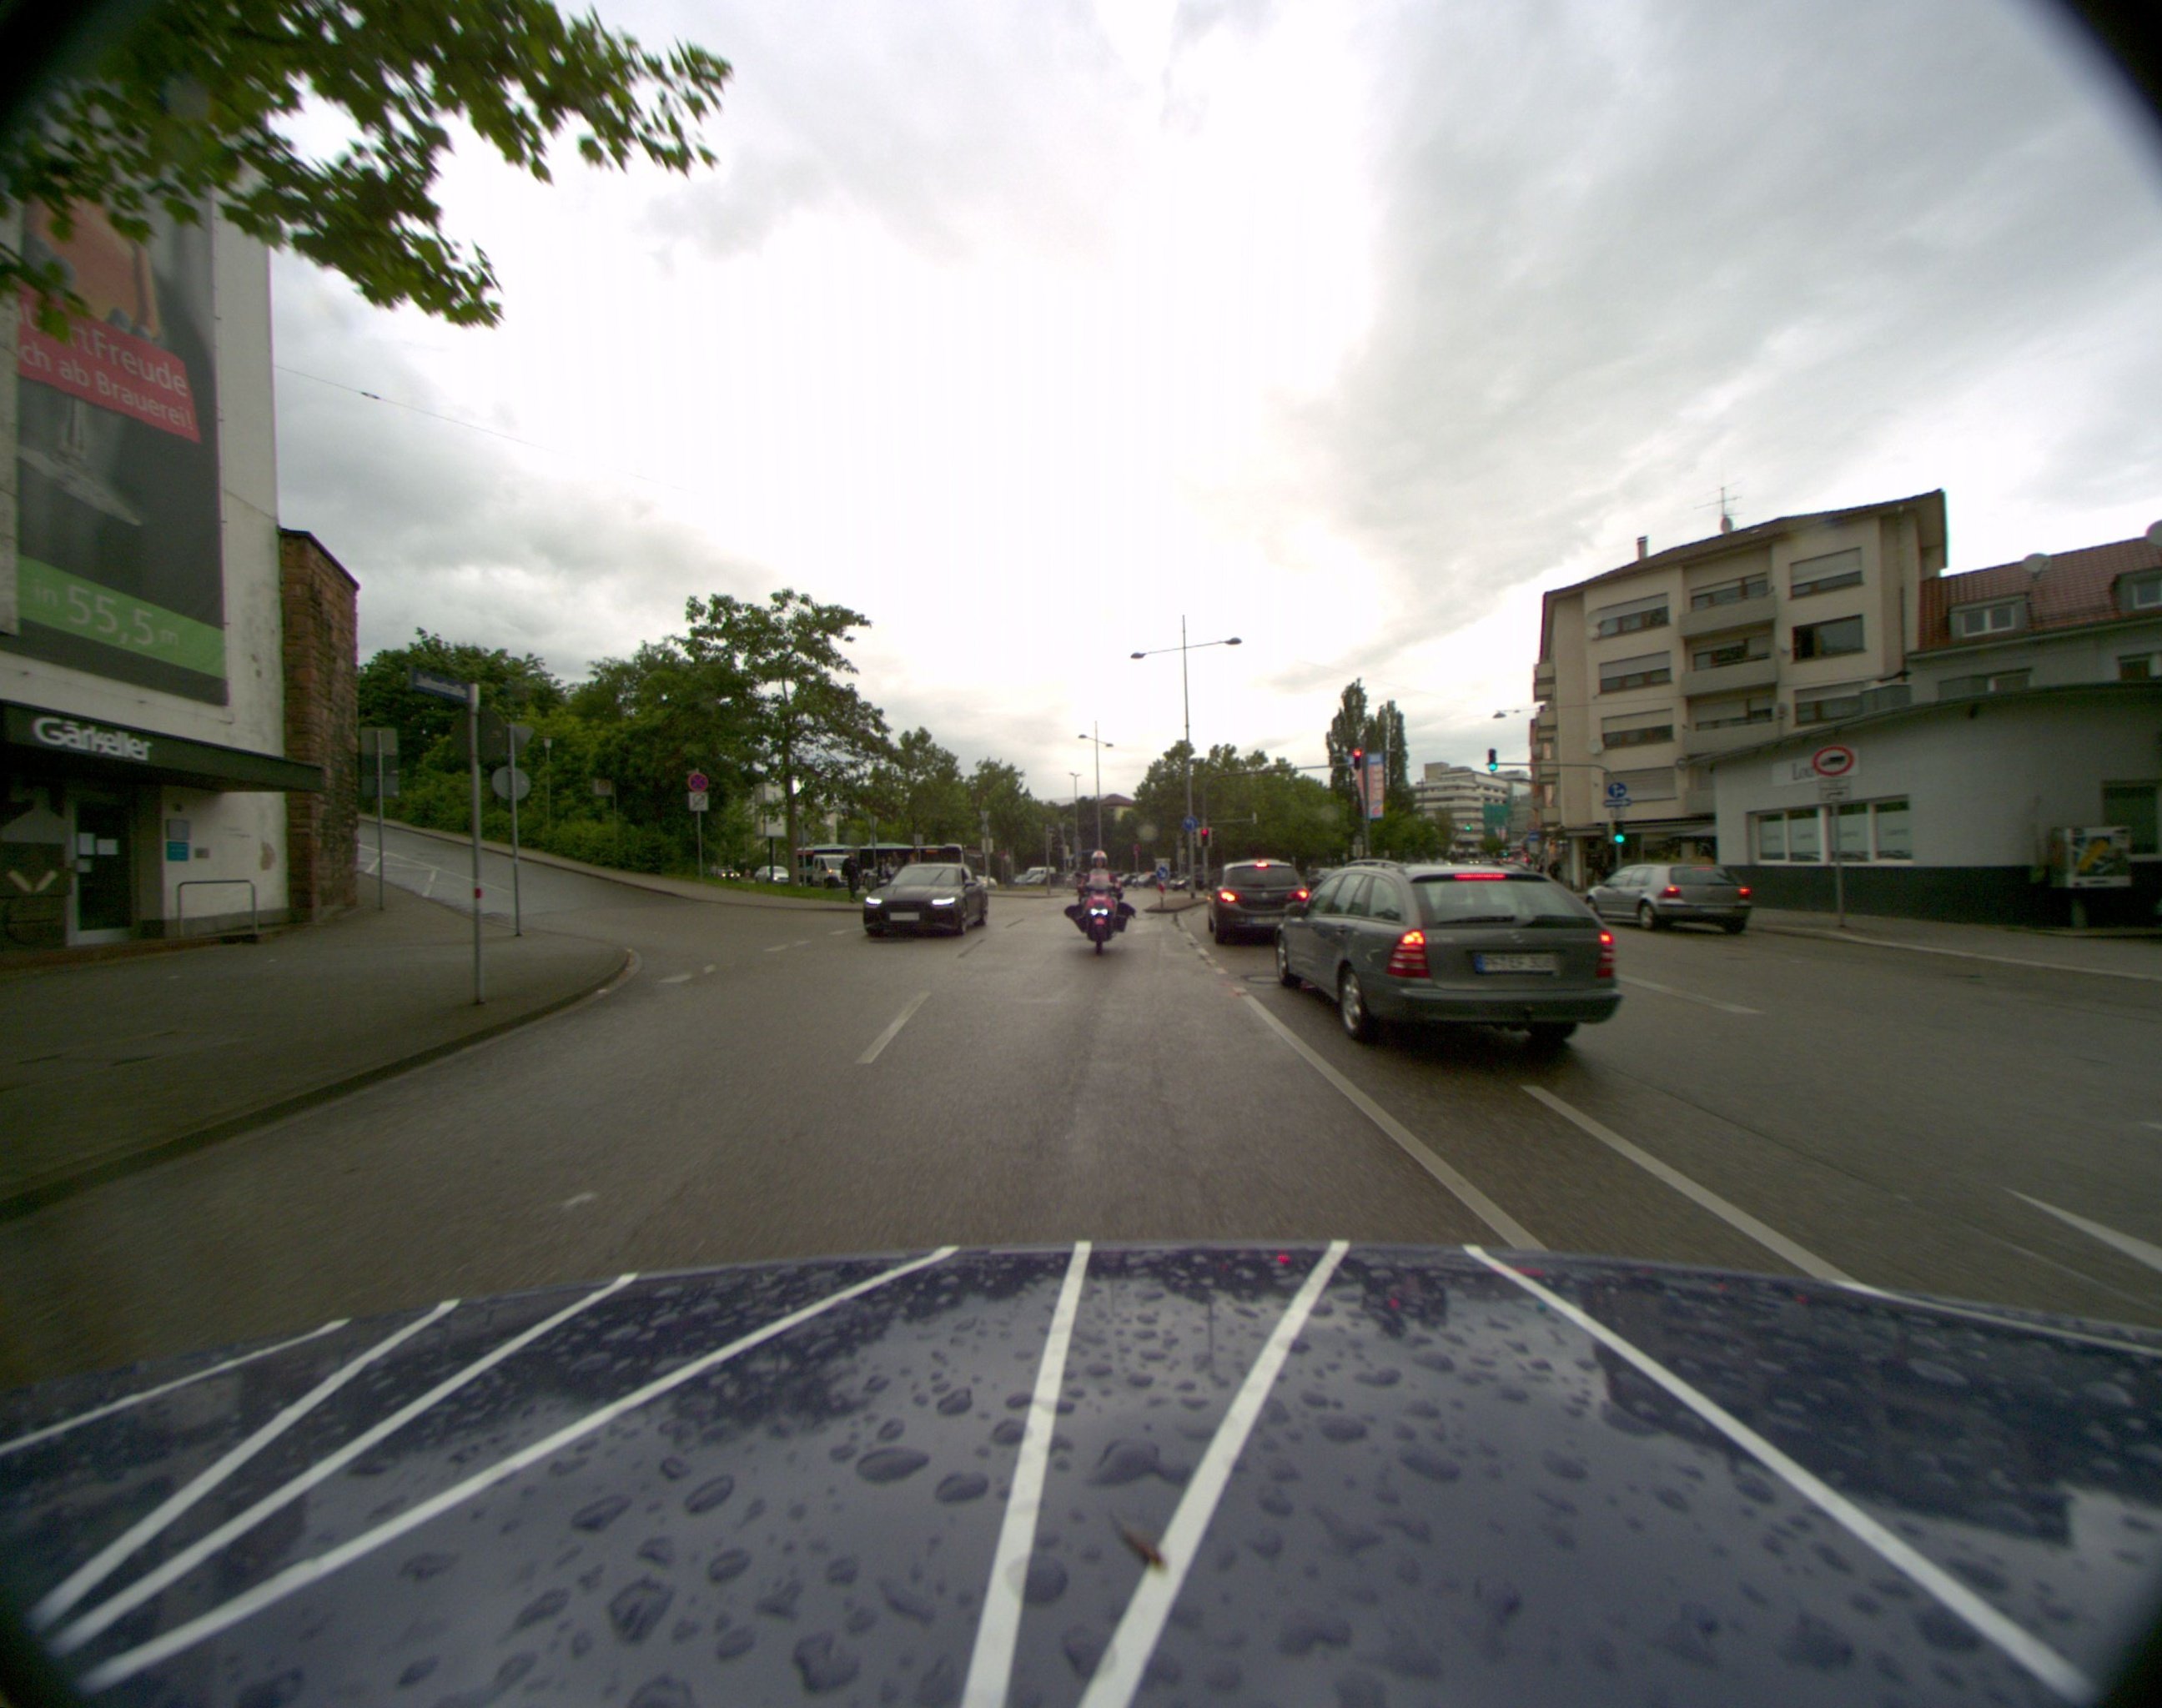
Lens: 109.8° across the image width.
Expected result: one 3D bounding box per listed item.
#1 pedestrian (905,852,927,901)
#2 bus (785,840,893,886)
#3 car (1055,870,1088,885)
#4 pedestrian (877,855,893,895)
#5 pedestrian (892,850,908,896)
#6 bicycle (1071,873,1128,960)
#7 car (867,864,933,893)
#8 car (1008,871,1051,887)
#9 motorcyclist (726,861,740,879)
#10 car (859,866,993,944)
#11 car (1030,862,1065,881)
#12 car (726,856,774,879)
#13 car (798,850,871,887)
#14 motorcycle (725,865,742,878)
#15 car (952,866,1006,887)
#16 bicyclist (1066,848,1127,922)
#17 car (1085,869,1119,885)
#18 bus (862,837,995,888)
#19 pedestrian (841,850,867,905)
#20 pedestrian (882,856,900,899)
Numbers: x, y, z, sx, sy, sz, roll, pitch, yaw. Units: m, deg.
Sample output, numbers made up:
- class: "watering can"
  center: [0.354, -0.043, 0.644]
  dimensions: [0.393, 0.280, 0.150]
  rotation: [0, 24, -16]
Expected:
- class: "pedestrian"
  center: [-6.309, 0.849, 29.009]
  dimensions: [0.743, 1.819, 0.693]
  rotation: [2, 0, -15]
- class: "bus"
  center: [-18.077, 0.721, 56.418]
  dimensions: [8.537, 3.162, 2.693]
  rotation: [-2, 1, 33]
- class: "car"
  center: [-1.047, 2.540, 83.594]
  dimensions: [1.758, 1.581, 4.009]
  rotation: [-1, -1, 31]
- class: "pedestrian"
  center: [-8.507, 0.901, 32.963]
  dimensions: [0.559, 1.695, 0.527]
  rotation: [1, -1, -23]
- class: "pedestrian"
  center: [-7.938, 0.821, 33.344]
  dimensions: [0.589, 2.001, 0.786]
  rotation: [1, -1, -20]
- class: "bicycle"
  center: [0.363, 1.020, 13.287]
  dimensions: [0.717, 1.298, 2.428]
  rotation: [-2, 0, 7]
- class: "car"
  center: [-9.607, 1.250, 40.155]
  dimensions: [1.799, 1.366, 4.085]
  rotation: [0, 0, -38]
- class: "car"
  center: [-4.790, 2.343, 71.607]
  dimensions: [1.852, 1.431, 4.271]
  rotation: [-1, -1, 32]
- class: "motorcyclist"
  center: [-29.077, 1.332, 63.464]
  dimensions: [0.808, 1.428, 1.237]
  rotation: [0, -1, -40]
- class: "car"
  center: [-3.194, 0.995, 16.547]
  dimensions: [1.896, 1.396, 4.361]
  rotation: [1, 0, 2]
- class: "car"
  center: [-4.092, 2.187, 93.650]
  dimensions: [1.968, 2.305, 5.023]
  rotation: [-1, -1, 29]
- class: "car"
  center: [-25.319, 1.026, 58.079]
  dimensions: [2.004, 1.642, 4.862]
  rotation: [0, -1, -40]
- class: "car"
  center: [-15.555, 0.860, 47.672]
  dimensions: [2.260, 2.221, 6.324]
  rotation: [0, 0, -39]
- class: "motorcycle"
  center: [-29.058, 1.458, 63.530]
  dimensions: [0.572, 1.112, 2.682]
  rotation: [0, -1, -40]
- class: "car"
  center: [-7.131, 1.582, 53.187]
  dimensions: [3.559, 1.442, 1.594]
  rotation: [-2, -2, 33]
- class: "bicyclist"
  center: [0.278, 0.553, 13.145]
  dimensions: [0.962, 1.218, 0.715]
  rotation: [-2, -4, 7]
- class: "car"
  center: [2.315, 2.457, 81.723]
  dimensions: [1.758, 1.581, 4.186]
  rotation: [-1, -1, 31]
- class: "bus"
  center: [-10.440, 0.593, 51.452]
  dimensions: [9.631, 3.197, 2.711]
  rotation: [0, -1, 33]
- class: "pedestrian"
  center: [-7.137, 0.719, 23.915]
  dimensions: [0.572, 1.677, 0.963]
  rotation: [2, 1, -7]
- class: "pedestrian"
  center: [-7.213, 0.893, 28.783]
  dimensions: [0.602, 1.590, 0.706]
  rotation: [2, 0, -15]
